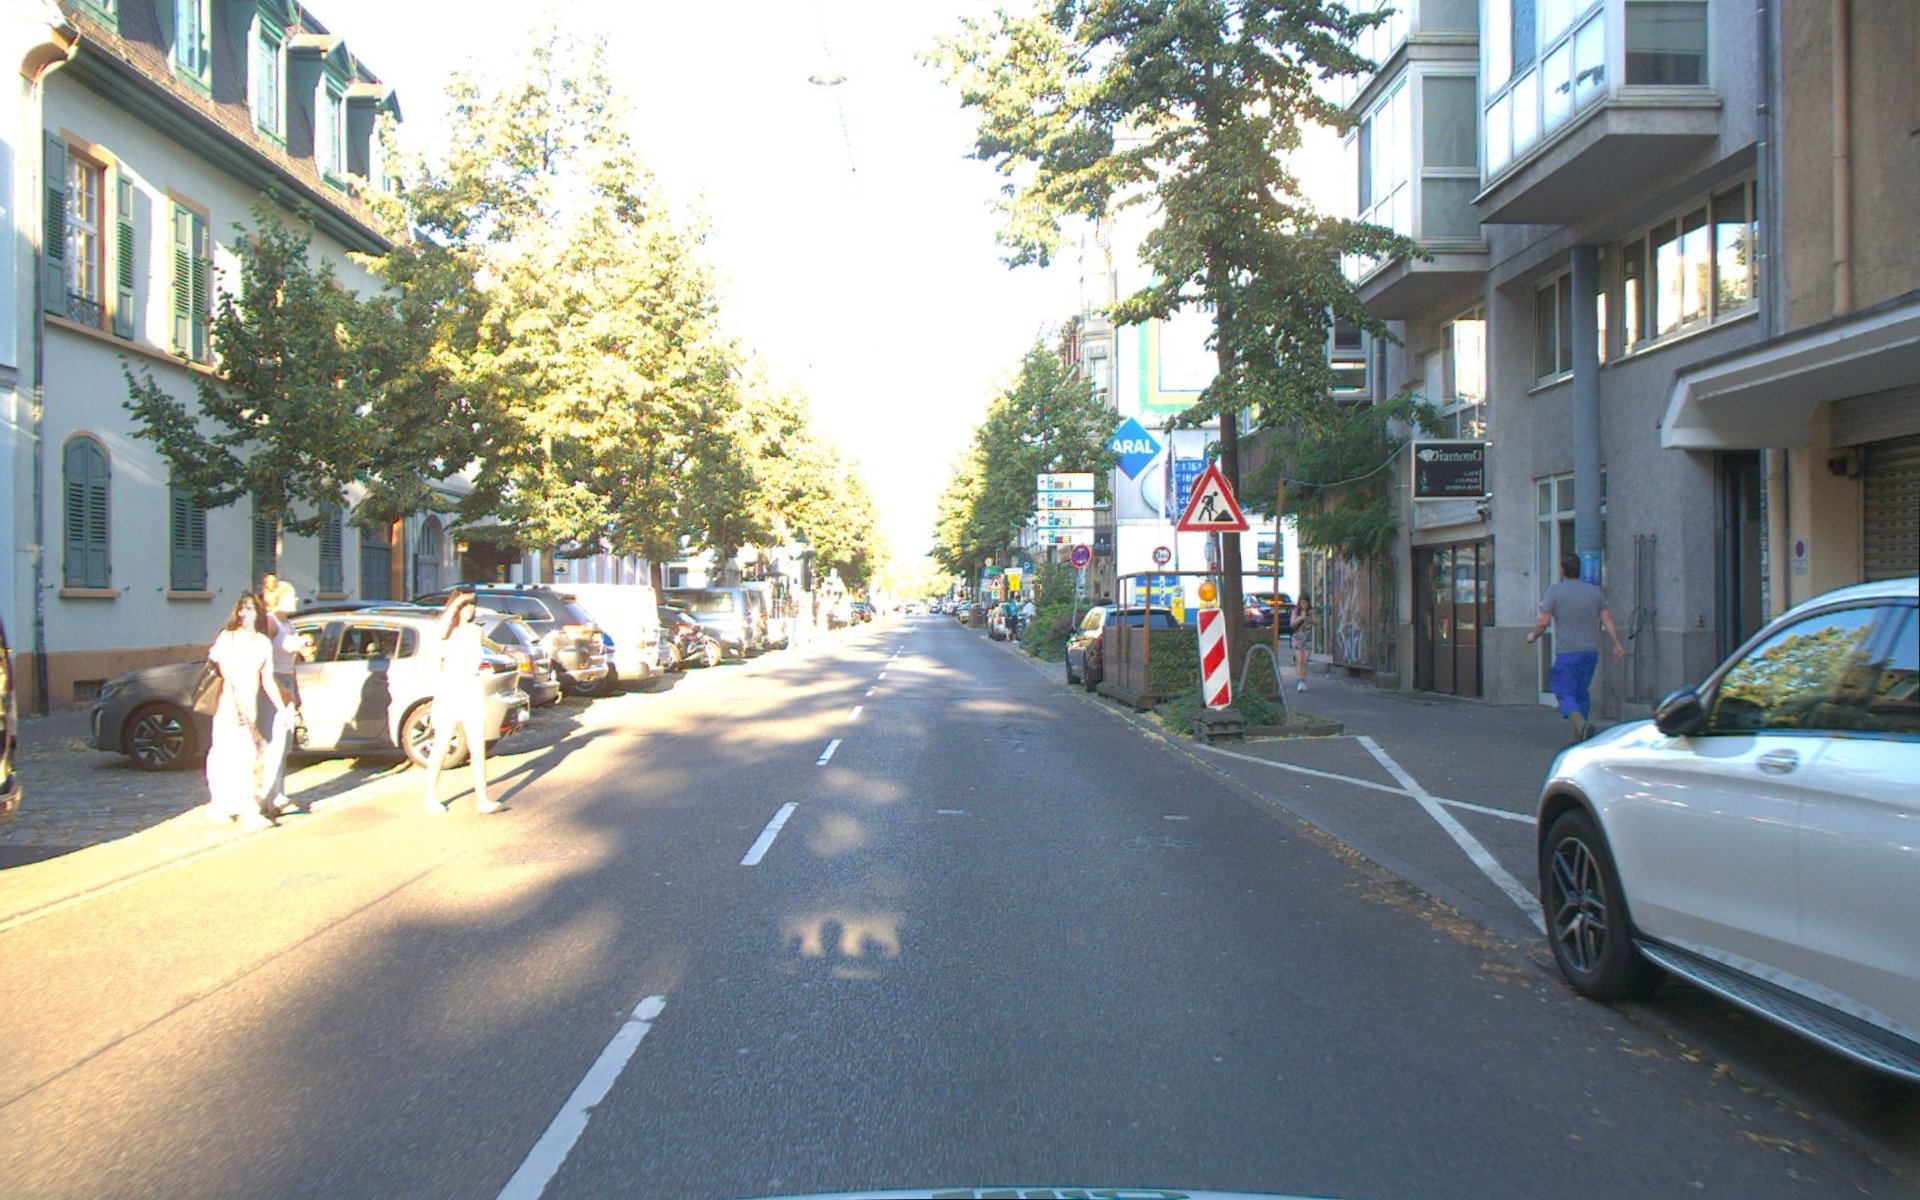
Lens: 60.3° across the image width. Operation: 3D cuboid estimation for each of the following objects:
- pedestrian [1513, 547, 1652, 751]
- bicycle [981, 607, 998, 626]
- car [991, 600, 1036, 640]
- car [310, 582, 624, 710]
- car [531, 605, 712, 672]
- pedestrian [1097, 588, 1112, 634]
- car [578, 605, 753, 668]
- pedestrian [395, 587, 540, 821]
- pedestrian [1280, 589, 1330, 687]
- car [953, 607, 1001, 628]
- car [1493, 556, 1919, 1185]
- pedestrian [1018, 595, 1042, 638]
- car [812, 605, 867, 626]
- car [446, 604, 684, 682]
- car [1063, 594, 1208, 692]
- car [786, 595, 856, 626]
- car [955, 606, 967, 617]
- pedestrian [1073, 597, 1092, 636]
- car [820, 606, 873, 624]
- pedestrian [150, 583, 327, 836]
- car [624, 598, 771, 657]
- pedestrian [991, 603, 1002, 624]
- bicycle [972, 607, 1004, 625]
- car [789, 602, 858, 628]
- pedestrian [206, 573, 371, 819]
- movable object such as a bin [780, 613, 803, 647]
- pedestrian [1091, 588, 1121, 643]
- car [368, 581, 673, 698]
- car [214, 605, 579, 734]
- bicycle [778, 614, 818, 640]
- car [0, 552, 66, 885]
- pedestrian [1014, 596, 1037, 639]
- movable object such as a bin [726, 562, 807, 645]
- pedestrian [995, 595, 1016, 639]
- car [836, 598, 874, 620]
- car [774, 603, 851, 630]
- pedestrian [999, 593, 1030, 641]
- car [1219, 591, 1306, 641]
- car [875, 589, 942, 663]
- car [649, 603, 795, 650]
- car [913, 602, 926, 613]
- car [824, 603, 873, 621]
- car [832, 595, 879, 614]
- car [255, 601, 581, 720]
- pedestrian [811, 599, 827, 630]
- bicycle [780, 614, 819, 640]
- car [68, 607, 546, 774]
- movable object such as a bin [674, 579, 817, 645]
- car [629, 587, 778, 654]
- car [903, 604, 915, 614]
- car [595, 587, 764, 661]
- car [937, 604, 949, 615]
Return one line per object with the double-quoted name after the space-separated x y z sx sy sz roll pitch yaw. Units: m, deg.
5.811 0.441 15.498 0.839 1.826 0.996 -1 0 -5 "pedestrian"
1.853 1.021 104.608 0.585 1.198 1.847 0 0 18 "bicycle"
2.289 0.836 71.490 1.653 1.602 4.012 -3 0 -1 "car"
-7.624 0.692 25.897 4.338 1.903 1.893 0 0 -1 "car"
-7.944 0.890 39.097 3.842 1.527 1.905 0 0 1 "car"
6.086 0.461 69.429 0.452 1.908 0.499 -1 0 -16 "pedestrian"
-7.451 0.911 42.146 4.243 1.527 1.839 1 0 -7 "car"
-3.637 0.747 12.273 0.810 1.667 0.827 -1 0 0 "pedestrian"
5.556 0.605 26.684 0.598 1.552 0.773 -1 0 -1 "pedestrian"
1.357 1.335 127.910 1.645 1.616 3.801 0 0 41 "car"
3.335 0.653 4.971 1.841 1.601 4.691 -3 0 -1 "car"
2.893 0.673 68.016 0.657 1.730 0.648 -3 0 45 "pedestrian"
-9.690 1.257 133.274 4.352 1.595 1.919 0 -1 -1 "car"
-7.957 0.847 33.545 4.385 1.511 1.734 0 0 1 "car"
3.024 0.708 29.517 1.792 1.514 4.846 -2 0 -3 "car"
-9.127 0.726 109.171 4.479 1.996 1.990 0 -1 -2 "car"
0.154 1.423 207.490 1.482 1.298 3.303 0 -1 0 "car"
5.092 0.699 68.902 0.645 1.589 0.701 -3 0 -1 "pedestrian"
-9.620 1.280 139.940 4.352 1.474 1.919 0 -1 -1 "car"
-5.115 0.754 11.779 0.903 1.725 0.762 -1 0 -1 "pedestrian"
-7.731 0.792 48.954 4.045 1.665 1.860 1 0 -1 "car"
2.461 0.909 111.052 0.711 1.402 0.781 0 0 -1 "pedestrian"
1.737 0.995 103.145 1.918 1.092 0.704 0 0 31 "bicycle"
-9.167 1.015 111.734 4.478 1.727 2.060 0 -1 -1 "car"
-5.090 0.706 12.585 0.903 1.790 0.762 -2 0 -1 "pedestrian"
-5.793 1.023 56.787 0.675 1.124 0.883 -1 0 1 "movable object such as a bin"
5.115 0.541 57.968 0.806 1.886 1.096 -3 0 -3 "pedestrian"
-7.566 0.660 28.829 4.771 1.941 1.973 0 0 -2 "car"
-7.046 0.843 21.015 3.956 1.510 1.962 0 0 -2 "car"
-7.162 1.197 73.269 1.647 1.097 0.445 2 -2 7 "bicycle"
-7.346 0.670 8.913 4.053 1.838 1.807 0 0 0 "car"
2.725 0.737 68.621 0.666 1.735 0.822 -3 0 -16 "pedestrian"
-7.305 0.144 63.027 2.571 3.021 5.302 0 0 -1 "movable object such as a bin"
1.888 0.695 68.285 0.665 1.785 0.823 -1 -1 -12 "pedestrian"
-12.382 1.069 194.708 4.352 2.478 1.919 0 -1 -1 "car"
-8.773 0.996 98.664 4.455 1.568 1.810 0 -1 -2 "car"
2.150 0.675 65.655 0.995 1.857 0.778 -3 0 -11 "pedestrian"
9.448 0.522 52.060 1.699 1.456 4.907 -1 -1 -1 "car"
-1.376 0.687 45.139 1.674 1.855 4.012 -3 0 -1 "car"
-7.844 0.852 54.719 4.499 1.495 1.893 0 0 1 "car"
-5.634 1.077 232.745 1.716 1.567 3.303 -1 -1 0 "car"
-10.157 1.102 150.805 4.352 1.549 1.919 0 -1 -1 "car"
-9.953 0.415 157.321 4.352 1.790 1.919 0 -1 -1 "car"
-7.597 0.828 23.468 3.954 1.582 1.965 0 0 1 "car"
-7.829 0.778 91.815 0.695 1.716 0.834 0 0 8 "pedestrian"
-7.165 1.205 73.859 1.647 1.097 0.445 2 -2 7 "bicycle"
-6.206 0.826 16.080 3.978 1.487 1.684 0 0 -4 "car"
-8.674 0.470 67.343 2.272 2.539 5.720 -1 0 42 "movable object such as a bin"
-7.947 0.631 51.581 4.394 2.010 1.964 1 0 -3 "car"
-7.765 1.357 251.627 1.716 1.567 3.303 -1 -1 0 "car"
-7.797 0.655 46.287 4.392 2.010 2.068 0 0 -1 "car"
-2.681 1.513 259.203 1.716 1.567 3.303 -1 -1 0 "car"
